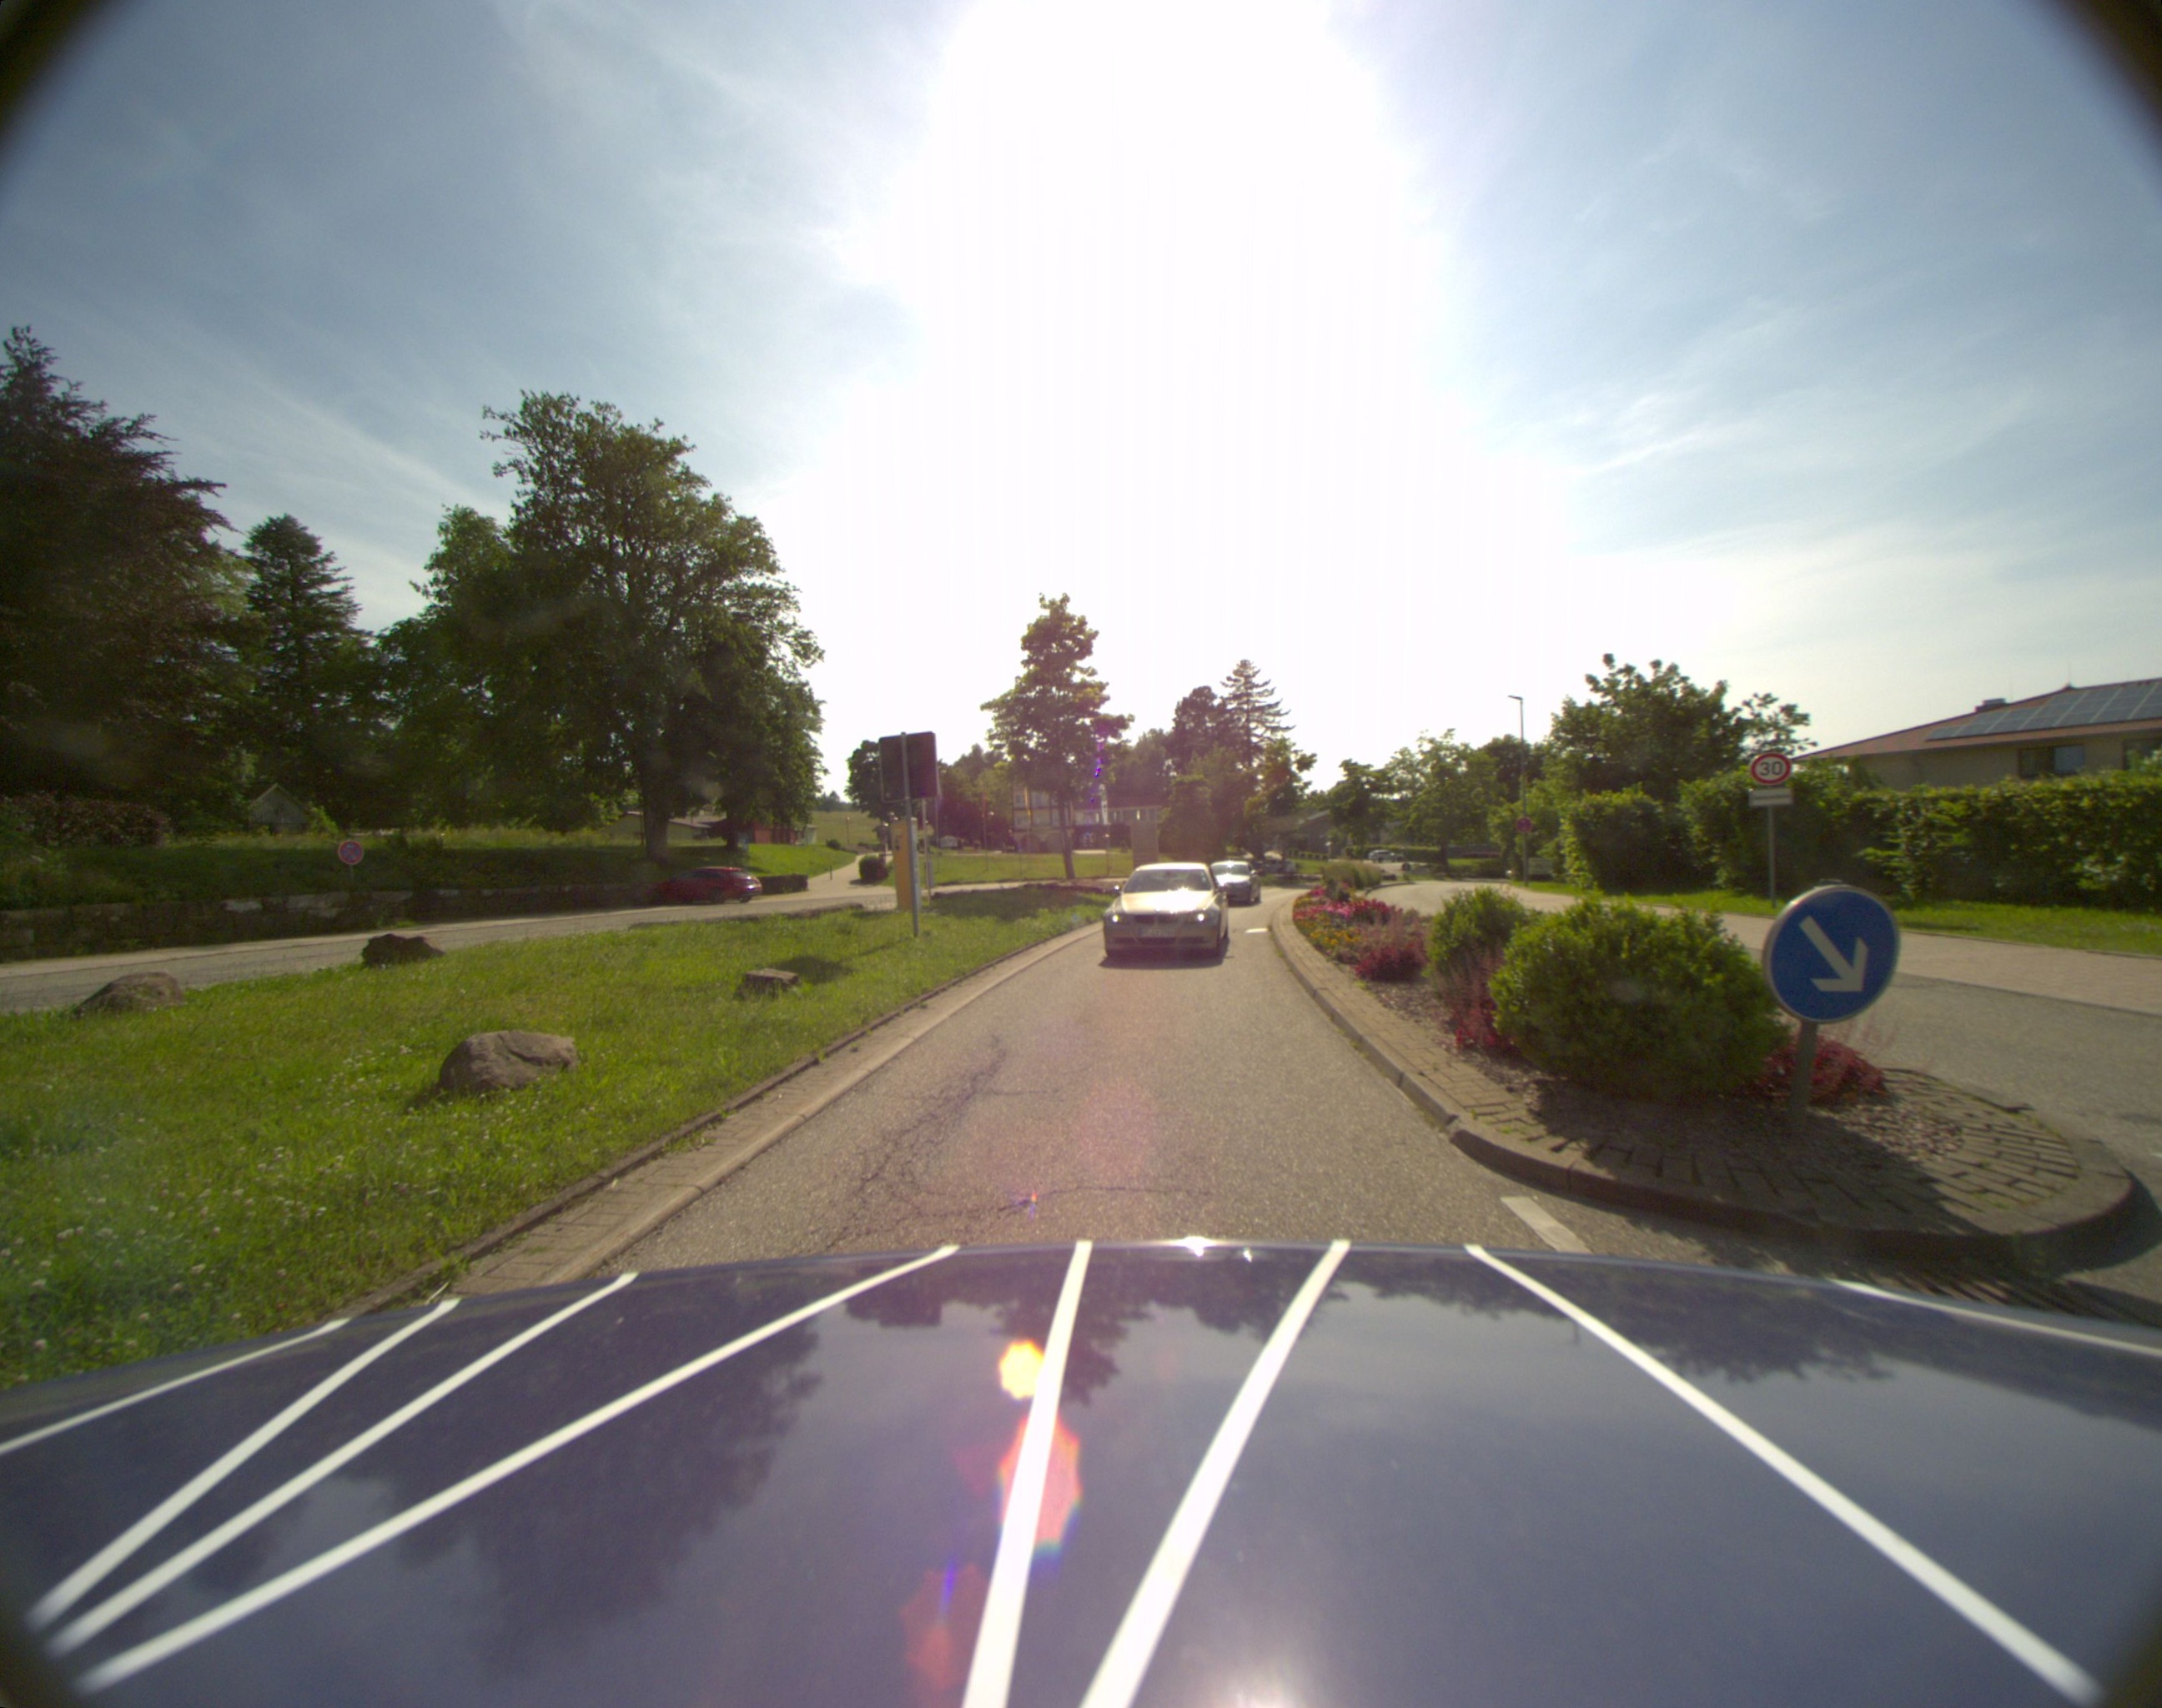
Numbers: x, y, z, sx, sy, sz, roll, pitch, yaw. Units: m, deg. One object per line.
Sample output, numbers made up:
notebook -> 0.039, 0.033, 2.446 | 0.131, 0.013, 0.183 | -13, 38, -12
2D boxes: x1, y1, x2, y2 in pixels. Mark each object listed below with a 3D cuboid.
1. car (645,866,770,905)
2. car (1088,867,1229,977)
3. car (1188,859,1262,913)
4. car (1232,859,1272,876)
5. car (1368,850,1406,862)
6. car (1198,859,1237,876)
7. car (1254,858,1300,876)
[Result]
car -> -14.624, 1.227, 29.789 | 4.259, 1.420, 1.704 | -1, 1, 14
car -> 1.495, 0.969, 12.744 | 1.837, 1.360, 4.585 | 0, 1, 12
car -> 4.881, 0.999, 25.393 | 1.900, 1.499, 4.005 | 2, 1, 18
car -> 16.144, 1.248, 71.924 | 1.689, 1.419, 3.530 | 0, 2, -33
car -> 40.242, 0.257, 99.954 | 4.367, 1.506, 1.792 | 1, 1, -5
car -> 12.676, 1.208, 70.760 | 1.717, 1.396, 3.303 | -1, 3, -38
car -> 19.246, 1.242, 74.670 | 2.004, 1.609, 3.989 | 0, 2, -33
